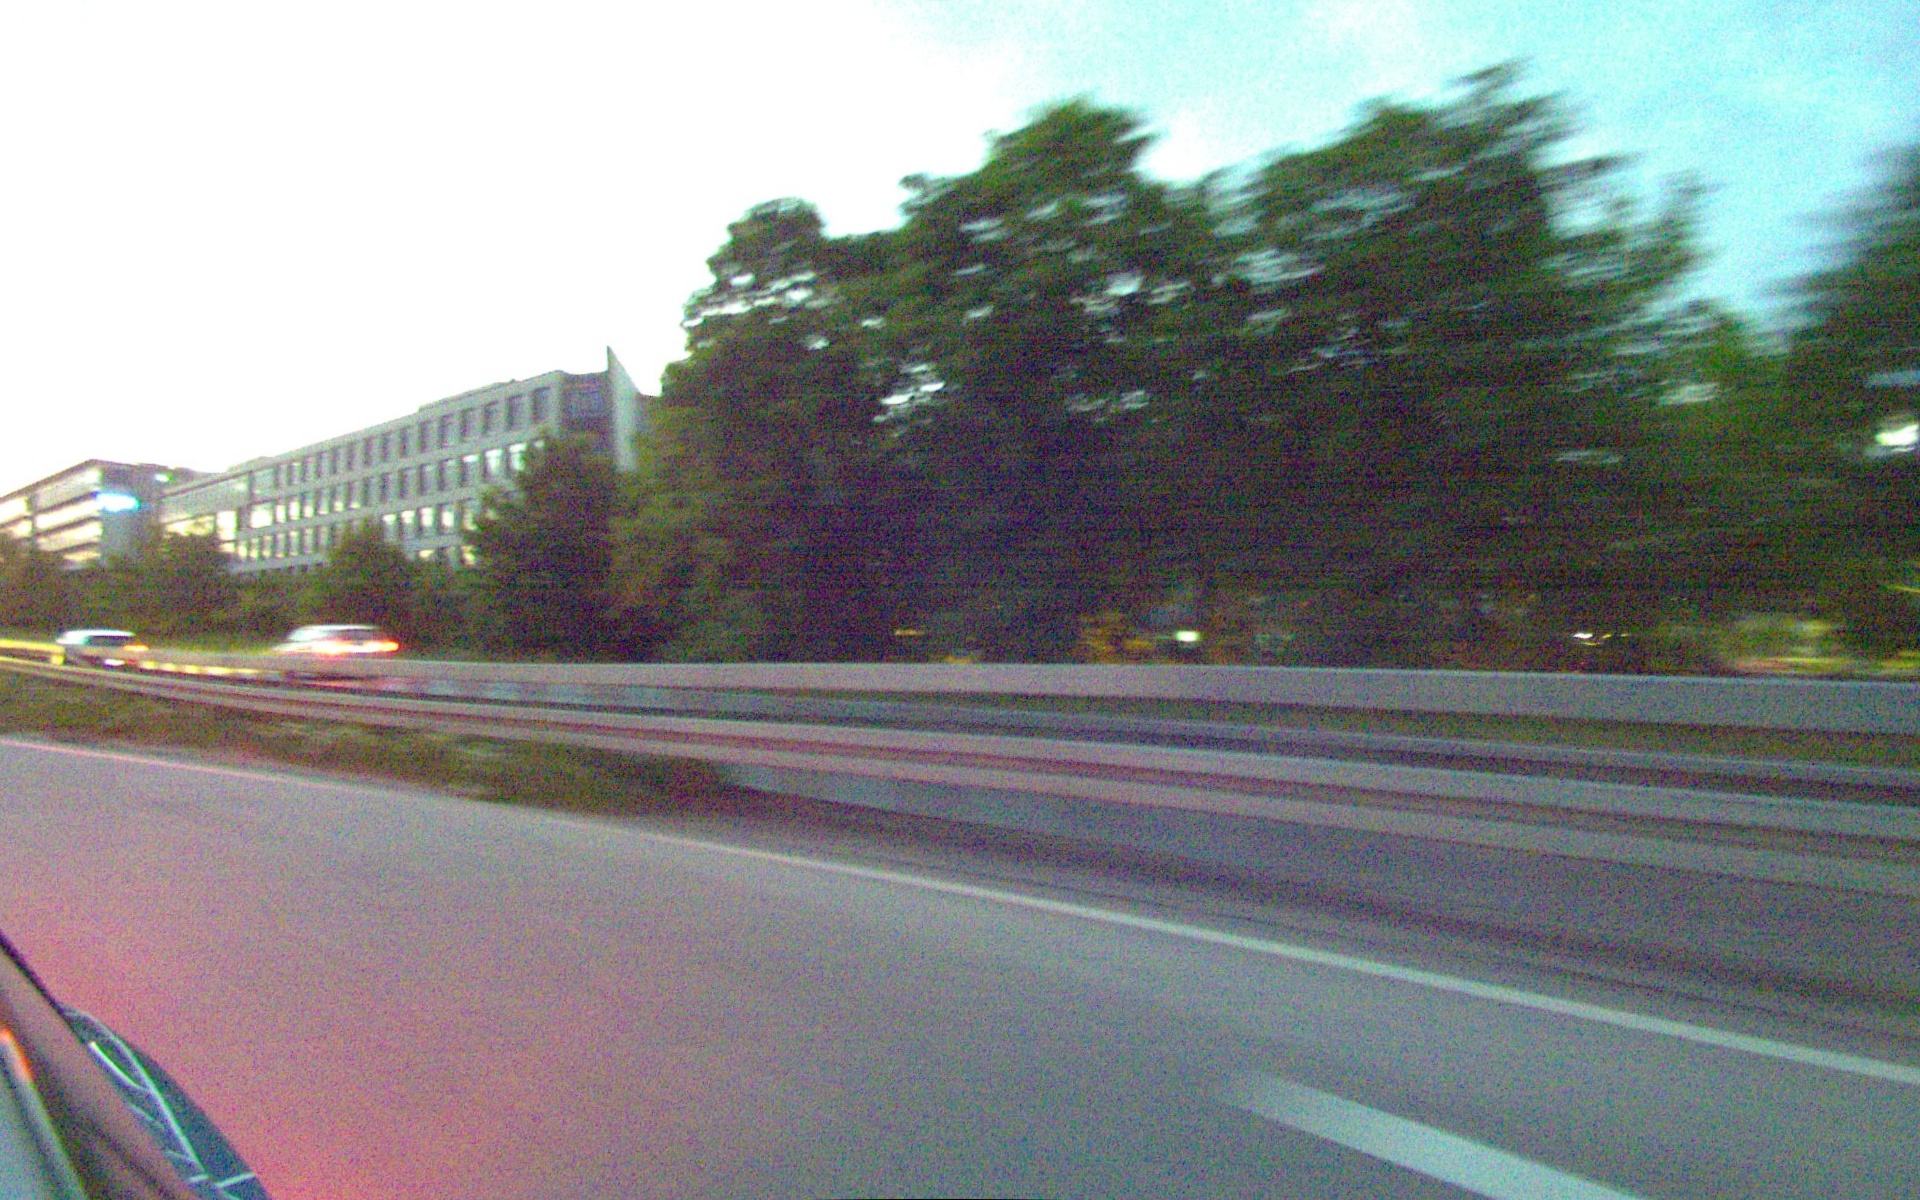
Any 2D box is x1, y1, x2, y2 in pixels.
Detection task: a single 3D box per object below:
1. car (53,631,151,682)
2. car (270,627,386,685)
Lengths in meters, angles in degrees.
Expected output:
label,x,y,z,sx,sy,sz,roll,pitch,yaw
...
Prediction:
label,x,y,z,sx,sy,sz,roll,pitch,yaw
car,-27.971,1.808,32.960,3.994,1.545,1.676,-2,-3,38
car,-19.180,1.659,30.632,4.302,1.635,1.684,-2,-2,39
